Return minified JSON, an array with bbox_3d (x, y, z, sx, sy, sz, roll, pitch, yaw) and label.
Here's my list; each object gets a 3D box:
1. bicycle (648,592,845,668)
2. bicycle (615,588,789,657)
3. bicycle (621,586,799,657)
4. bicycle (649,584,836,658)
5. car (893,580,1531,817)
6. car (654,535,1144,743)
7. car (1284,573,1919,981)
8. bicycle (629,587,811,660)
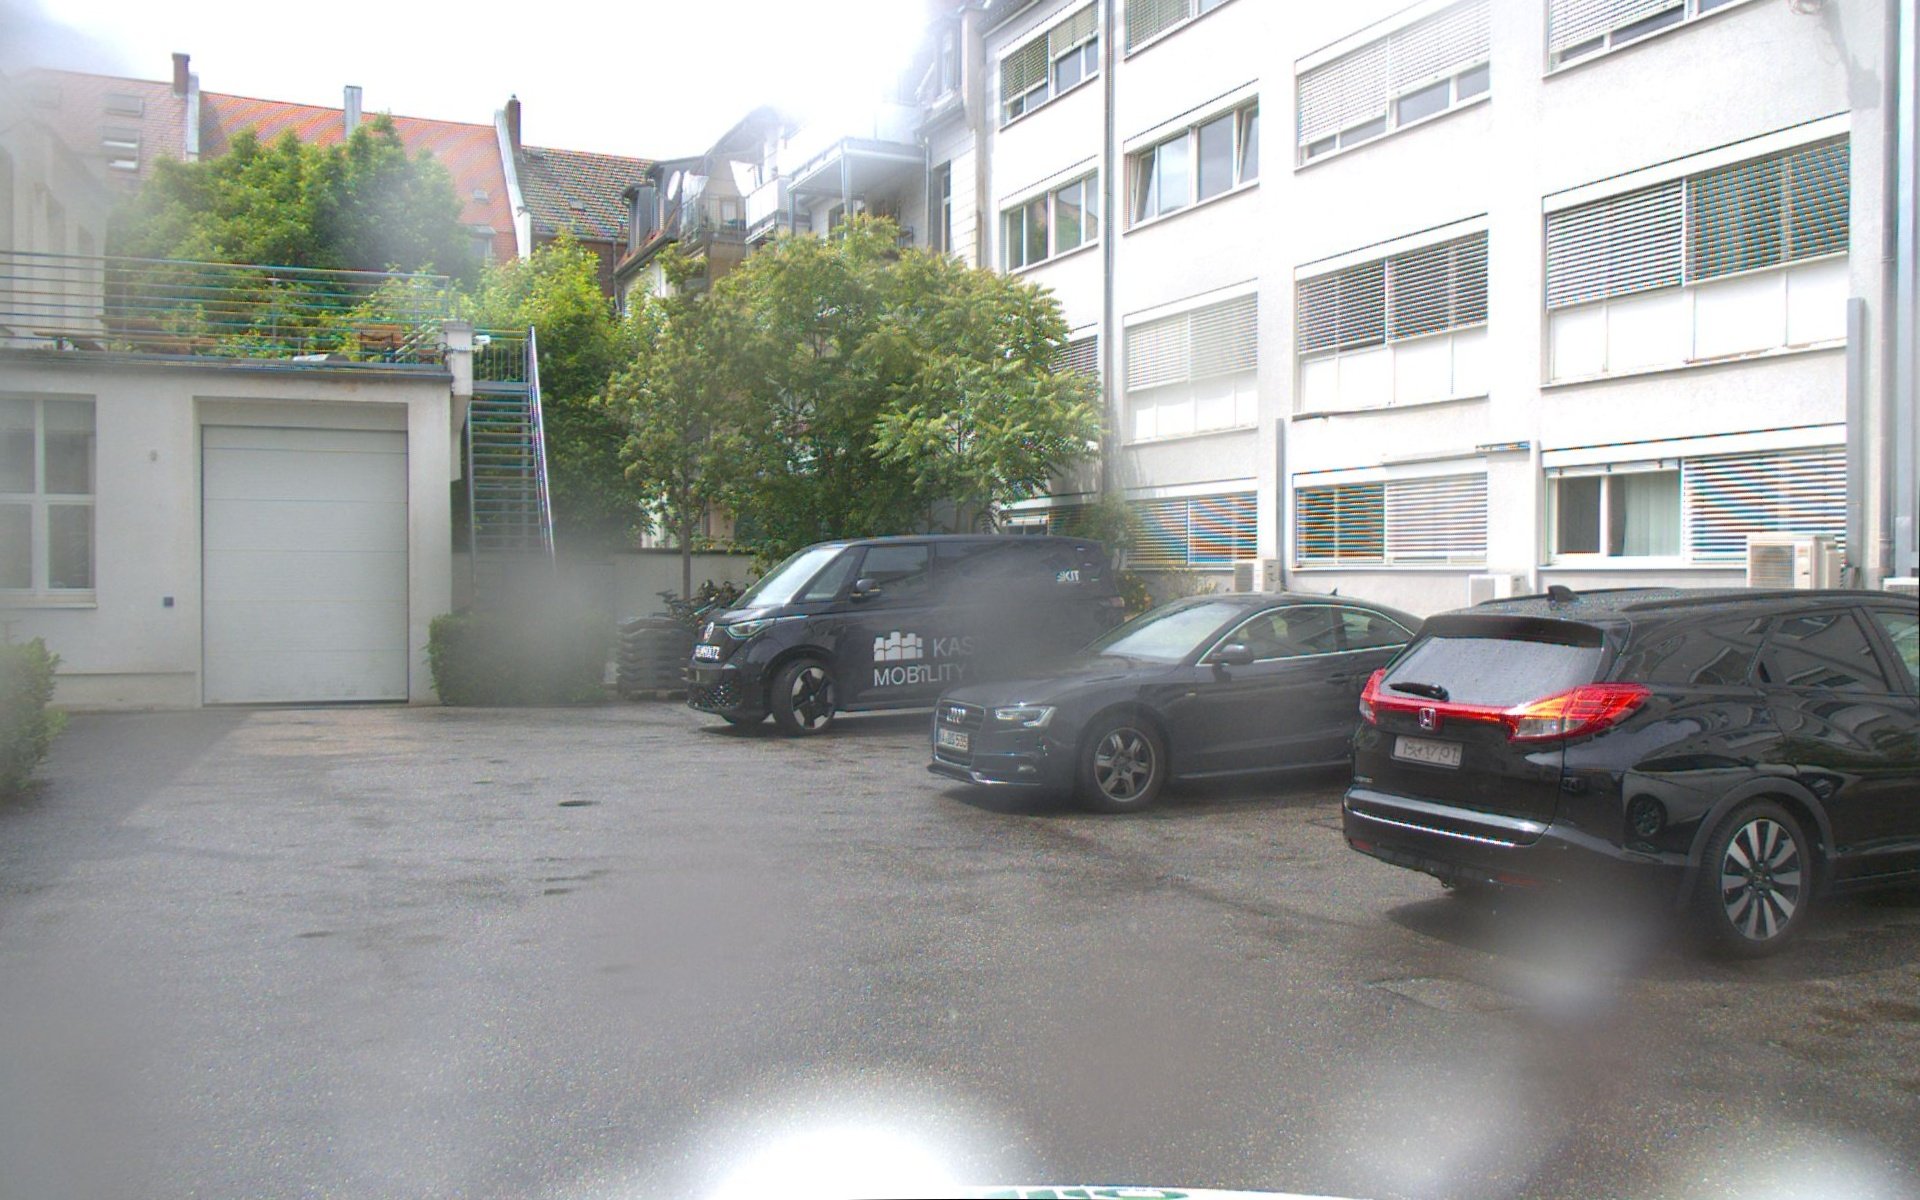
[{"bbox_3d":[-3.240,0.464,25.182,2.882,1.097,0.685,1,1,-22],"label":"bicycle"},{"bbox_3d":[-4.326,0.380,27.808,2.803,1.097,0.685,1,1,-22],"label":"bicycle"},{"bbox_3d":[-4.096,0.365,27.211,2.803,1.097,0.685,1,1,-22],"label":"bicycle"},{"bbox_3d":[-3.401,0.332,25.950,2.803,1.097,0.685,1,1,-22],"label":"bicycle"},{"bbox_3d":[1.843,0.586,11.928,4.300,1.372,1.845,-1,2,-26],"label":"car"},{"bbox_3d":[-0.623,0.299,17.185,4.651,1.865,2.094,-2,2,-26],"label":"car"},{"bbox_3d":[3.776,0.612,7.766,4.119,1.425,1.924,-1,1,-26],"label":"car"},{"bbox_3d":[-3.844,0.383,26.547,2.803,1.097,0.685,1,1,-22],"label":"bicycle"}]
